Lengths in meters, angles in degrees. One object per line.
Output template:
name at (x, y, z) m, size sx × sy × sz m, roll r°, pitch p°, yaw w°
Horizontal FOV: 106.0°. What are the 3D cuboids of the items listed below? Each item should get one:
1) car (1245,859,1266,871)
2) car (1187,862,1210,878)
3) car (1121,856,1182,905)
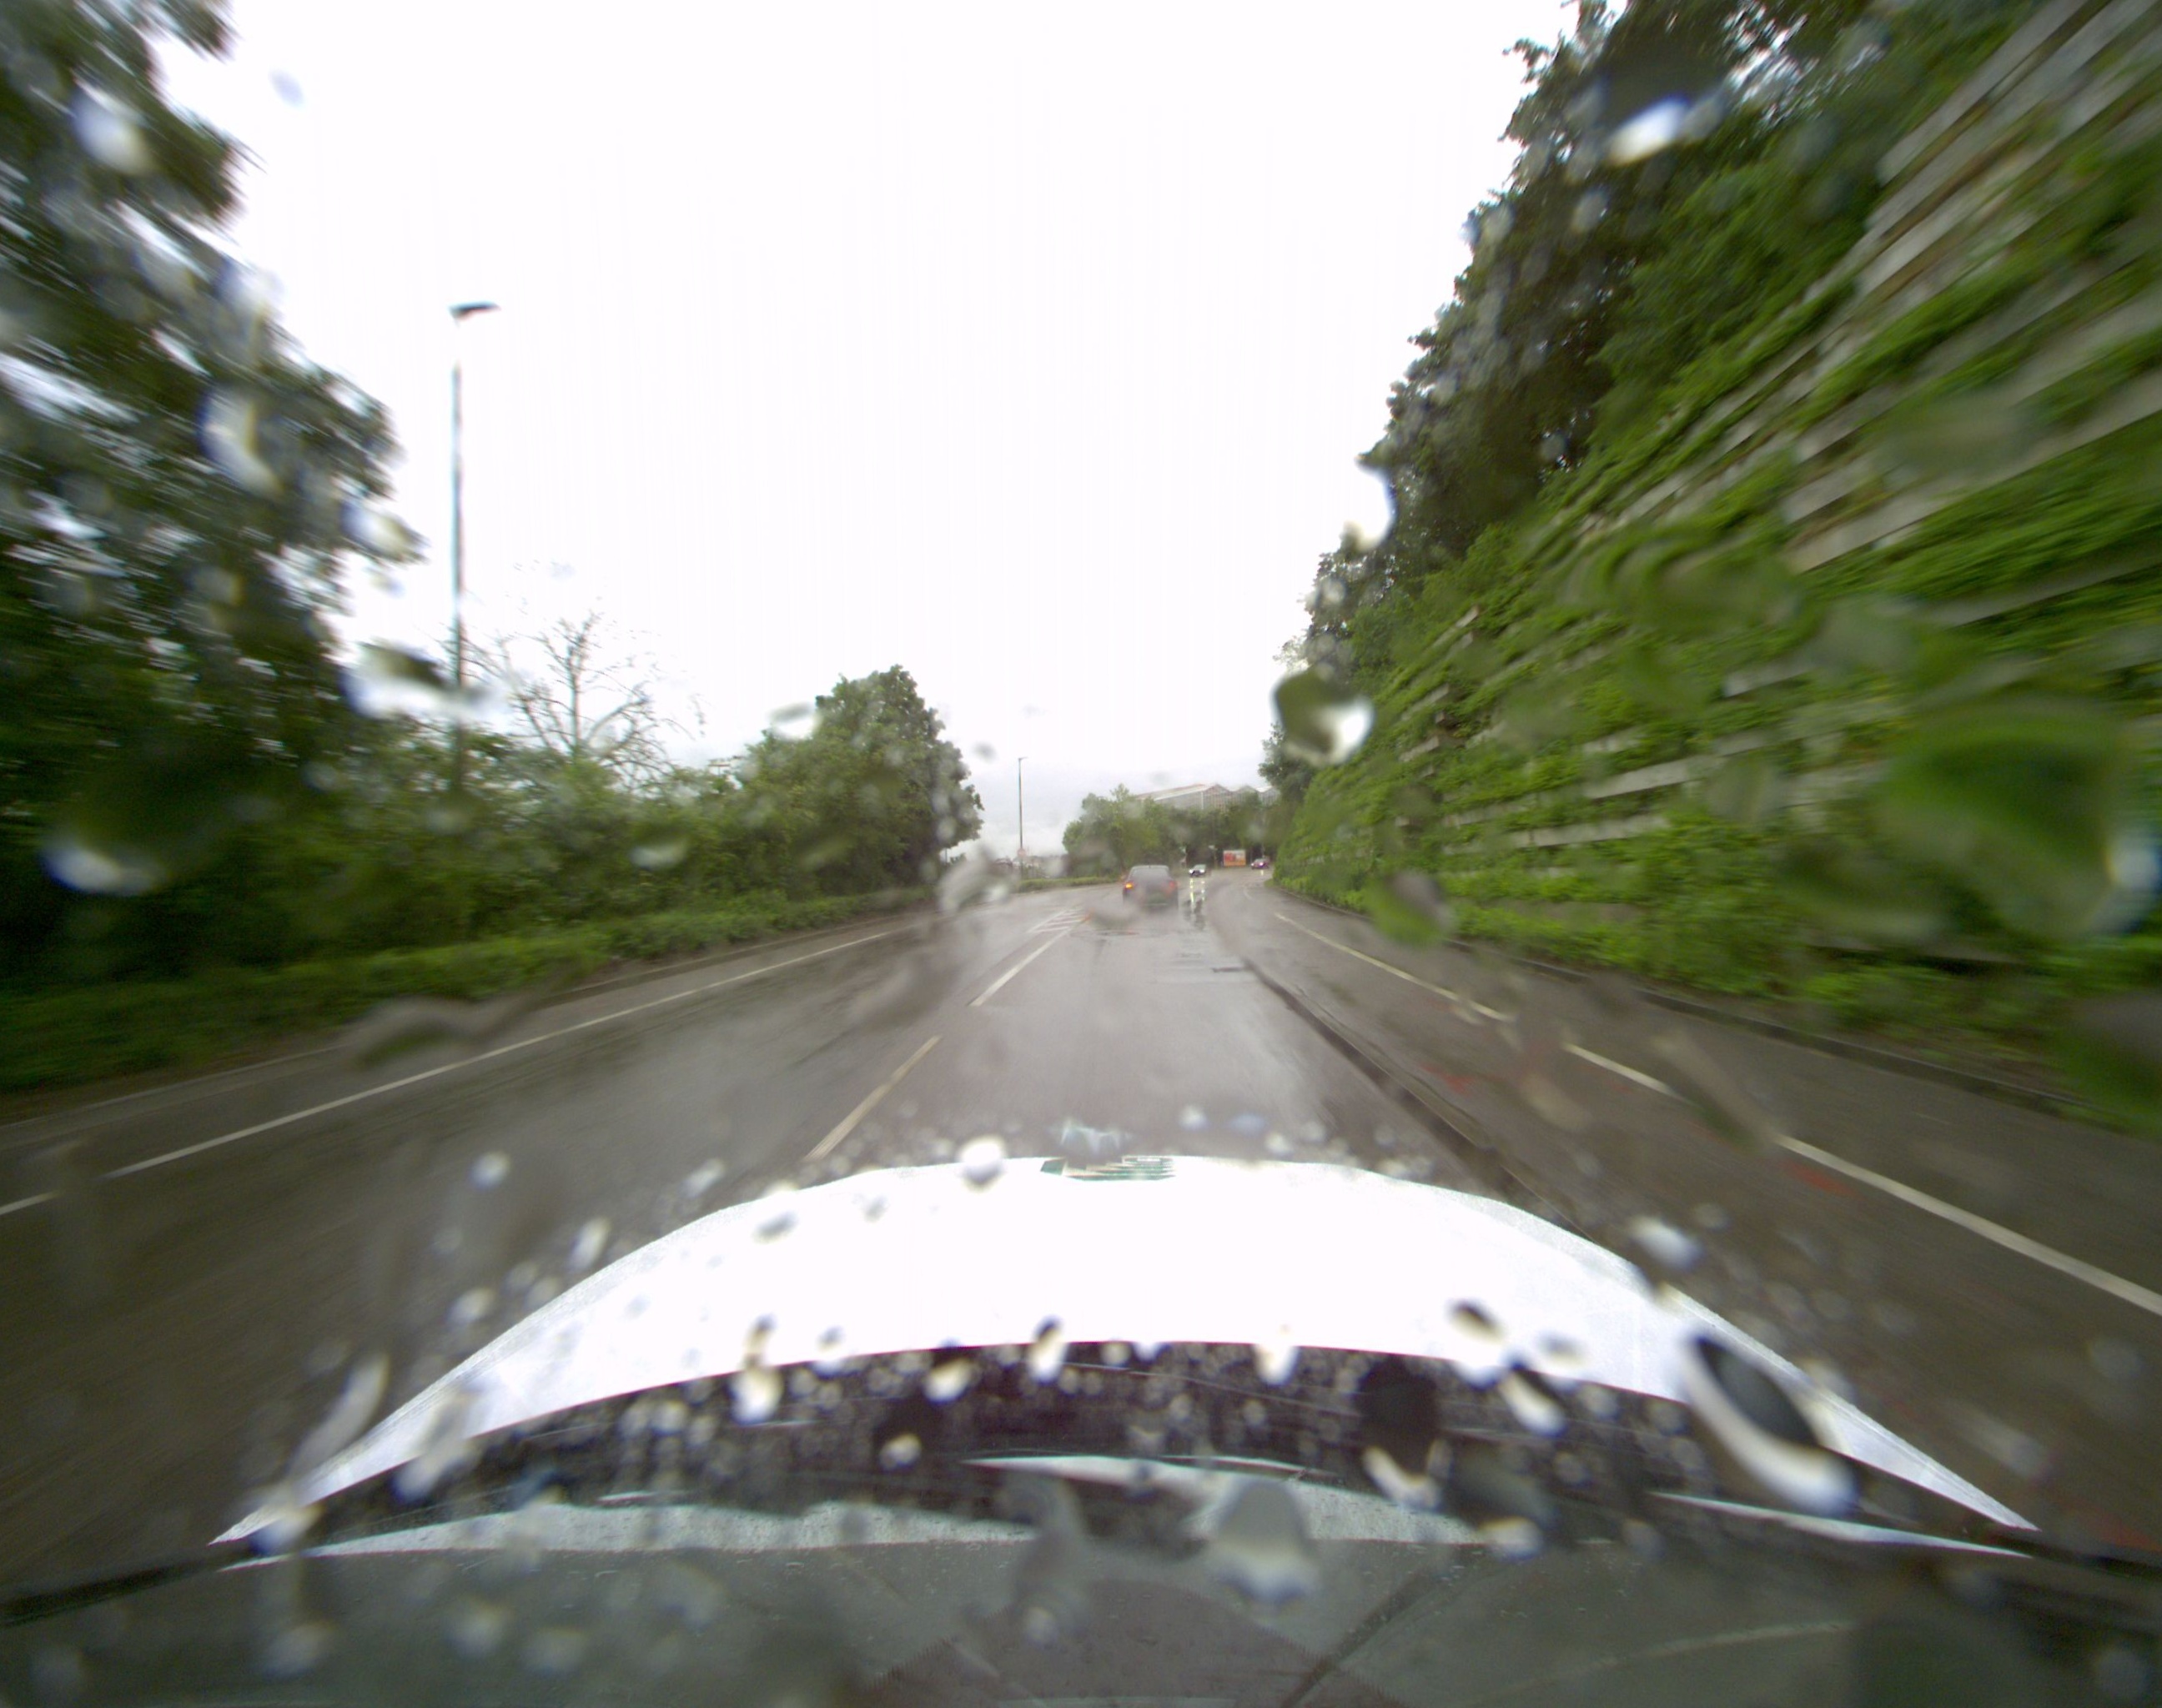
car at (26.786, 1.687, 125.086) m, size 1.974 × 1.741 × 4.025 m, roll -2°, pitch -1°, yaw 29°
car at (14.153, 1.920, 97.642) m, size 1.977 × 1.741 × 4.019 m, roll -2°, pitch -1°, yaw 18°
car at (2.271, 0.819, 26.993) m, size 1.885 × 1.492 × 4.211 m, roll 0°, pitch 0°, yaw 3°
